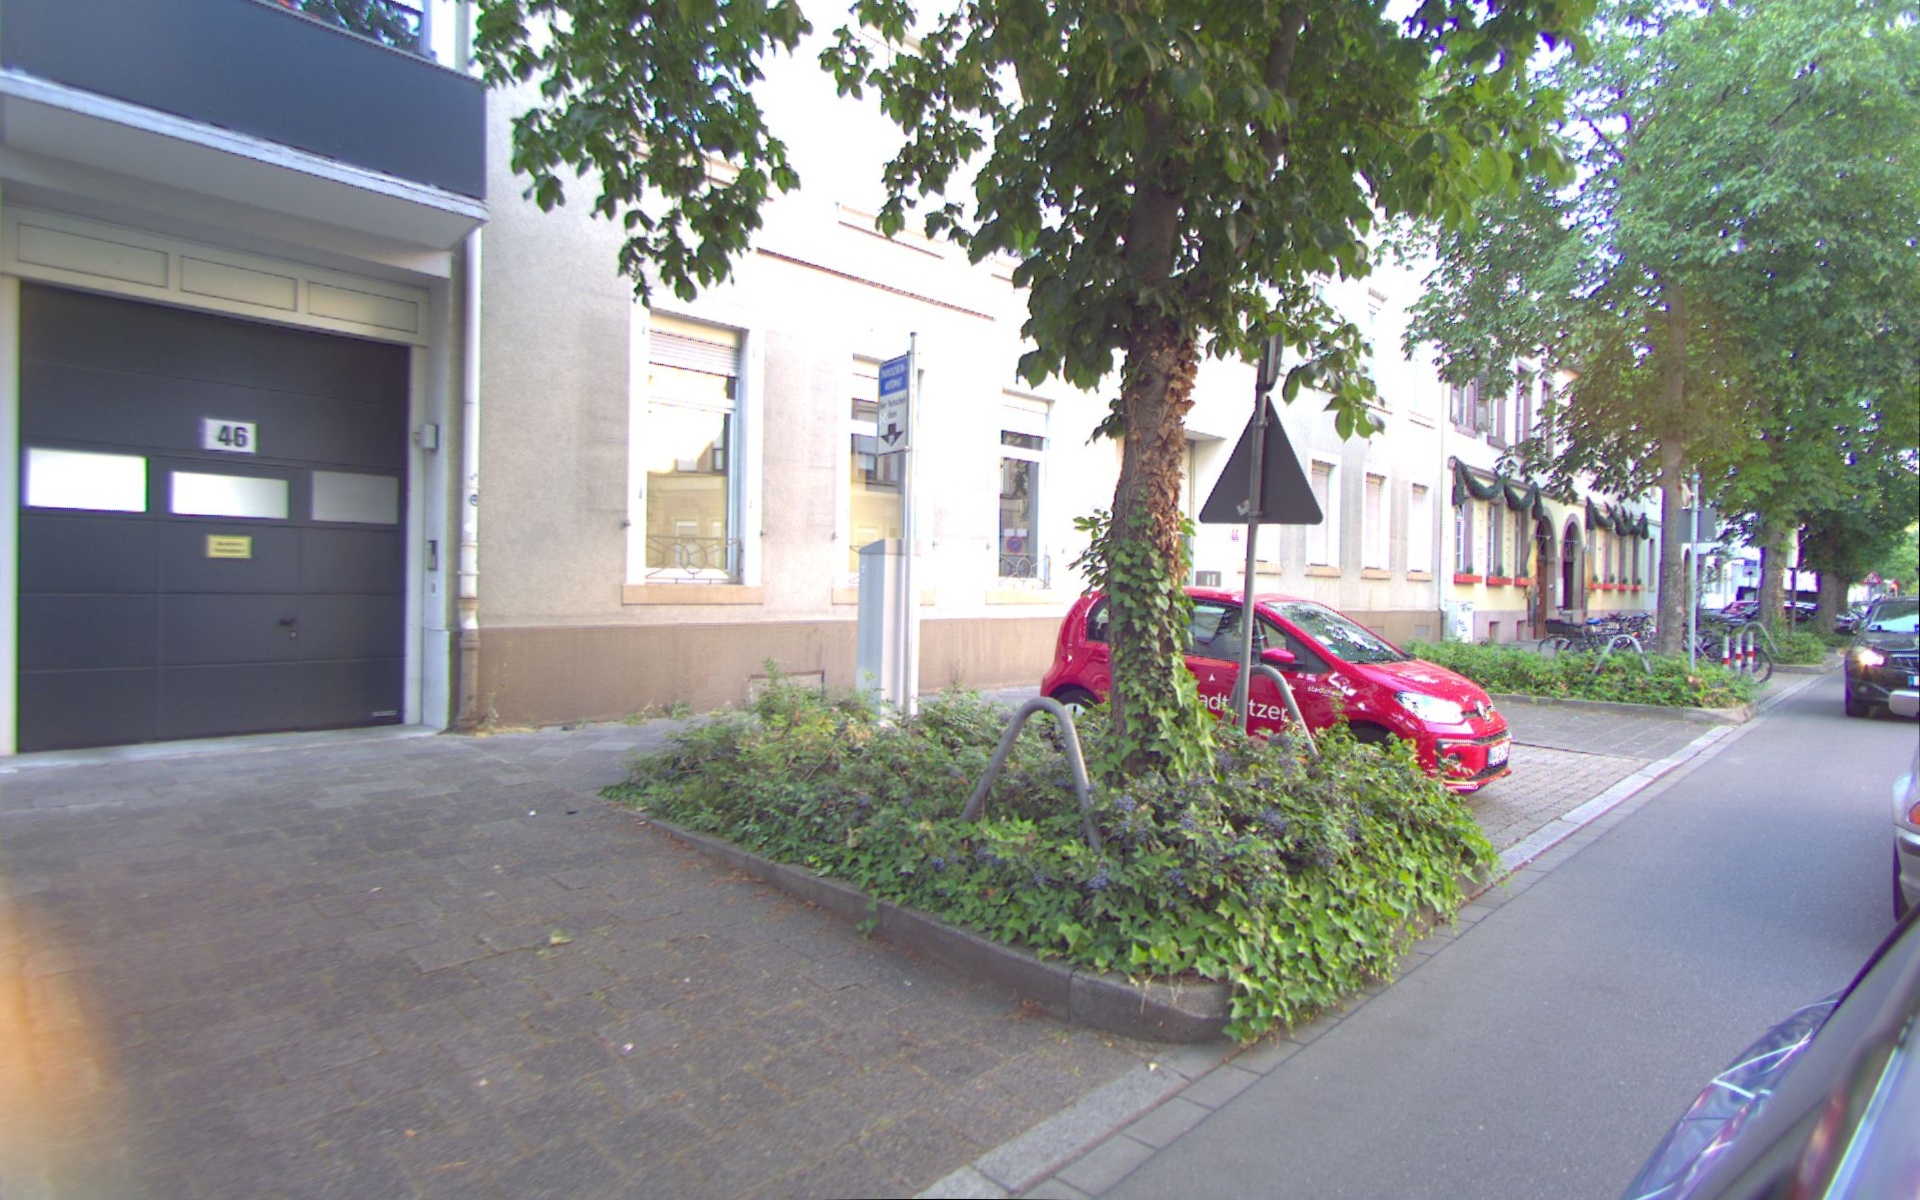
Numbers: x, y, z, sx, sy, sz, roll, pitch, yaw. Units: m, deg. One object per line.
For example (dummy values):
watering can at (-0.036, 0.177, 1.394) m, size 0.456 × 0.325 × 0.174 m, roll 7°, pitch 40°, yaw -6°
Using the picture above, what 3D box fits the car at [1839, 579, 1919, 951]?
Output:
car at (5.837, 0.659, 4.867) m, size 4.356 × 1.460 × 1.711 m, roll 0°, pitch 1°, yaw -39°

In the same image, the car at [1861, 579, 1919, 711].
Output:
car at (13.155, 0.547, 13.178) m, size 3.933 × 1.571 × 1.803 m, roll 0°, pitch 1°, yaw -44°

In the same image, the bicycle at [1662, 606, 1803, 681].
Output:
bicycle at (14.261, 0.773, 18.726) m, size 2.020 × 1.242 × 0.528 m, roll 2°, pitch 1°, yaw 40°

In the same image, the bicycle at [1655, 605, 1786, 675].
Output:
bicycle at (14.929, 0.756, 19.900) m, size 2.020 × 1.242 × 0.528 m, roll 2°, pitch 1°, yaw 40°

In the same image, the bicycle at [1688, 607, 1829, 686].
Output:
bicycle at (13.723, 0.774, 17.455) m, size 1.836 × 1.242 × 0.529 m, roll 2°, pitch 1°, yaw 35°

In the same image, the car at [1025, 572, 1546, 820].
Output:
car at (2.422, 0.553, 8.074) m, size 3.611 × 1.495 × 1.638 m, roll 2°, pitch 1°, yaw 44°

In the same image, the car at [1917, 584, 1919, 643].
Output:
car at (27.369, 0.372, 27.590) m, size 1.802 × 1.571 × 3.936 m, roll 2°, pitch 1°, yaw 44°

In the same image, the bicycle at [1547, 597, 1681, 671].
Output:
bicycle at (11.985, 0.599, 18.594) m, size 2.016 × 1.242 × 0.529 m, roll 2°, pitch 1°, yaw 35°

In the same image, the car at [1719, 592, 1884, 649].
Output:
car at (28.980, 0.634, 34.936) m, size 4.234 × 1.761 × 1.714 m, roll 2°, pitch 1°, yaw 45°

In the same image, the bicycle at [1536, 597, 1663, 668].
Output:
bicycle at (12.223, 0.588, 19.397) m, size 2.016 × 1.242 × 0.529 m, roll 2°, pitch 1°, yaw 35°

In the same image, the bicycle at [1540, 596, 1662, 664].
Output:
bicycle at (12.882, 0.574, 20.372) m, size 2.018 × 1.242 × 0.528 m, roll 2°, pitch 1°, yaw 39°

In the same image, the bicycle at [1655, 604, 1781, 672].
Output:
bicycle at (15.431, 0.744, 20.639) m, size 2.020 × 1.242 × 0.528 m, roll 2°, pitch 1°, yaw 40°
